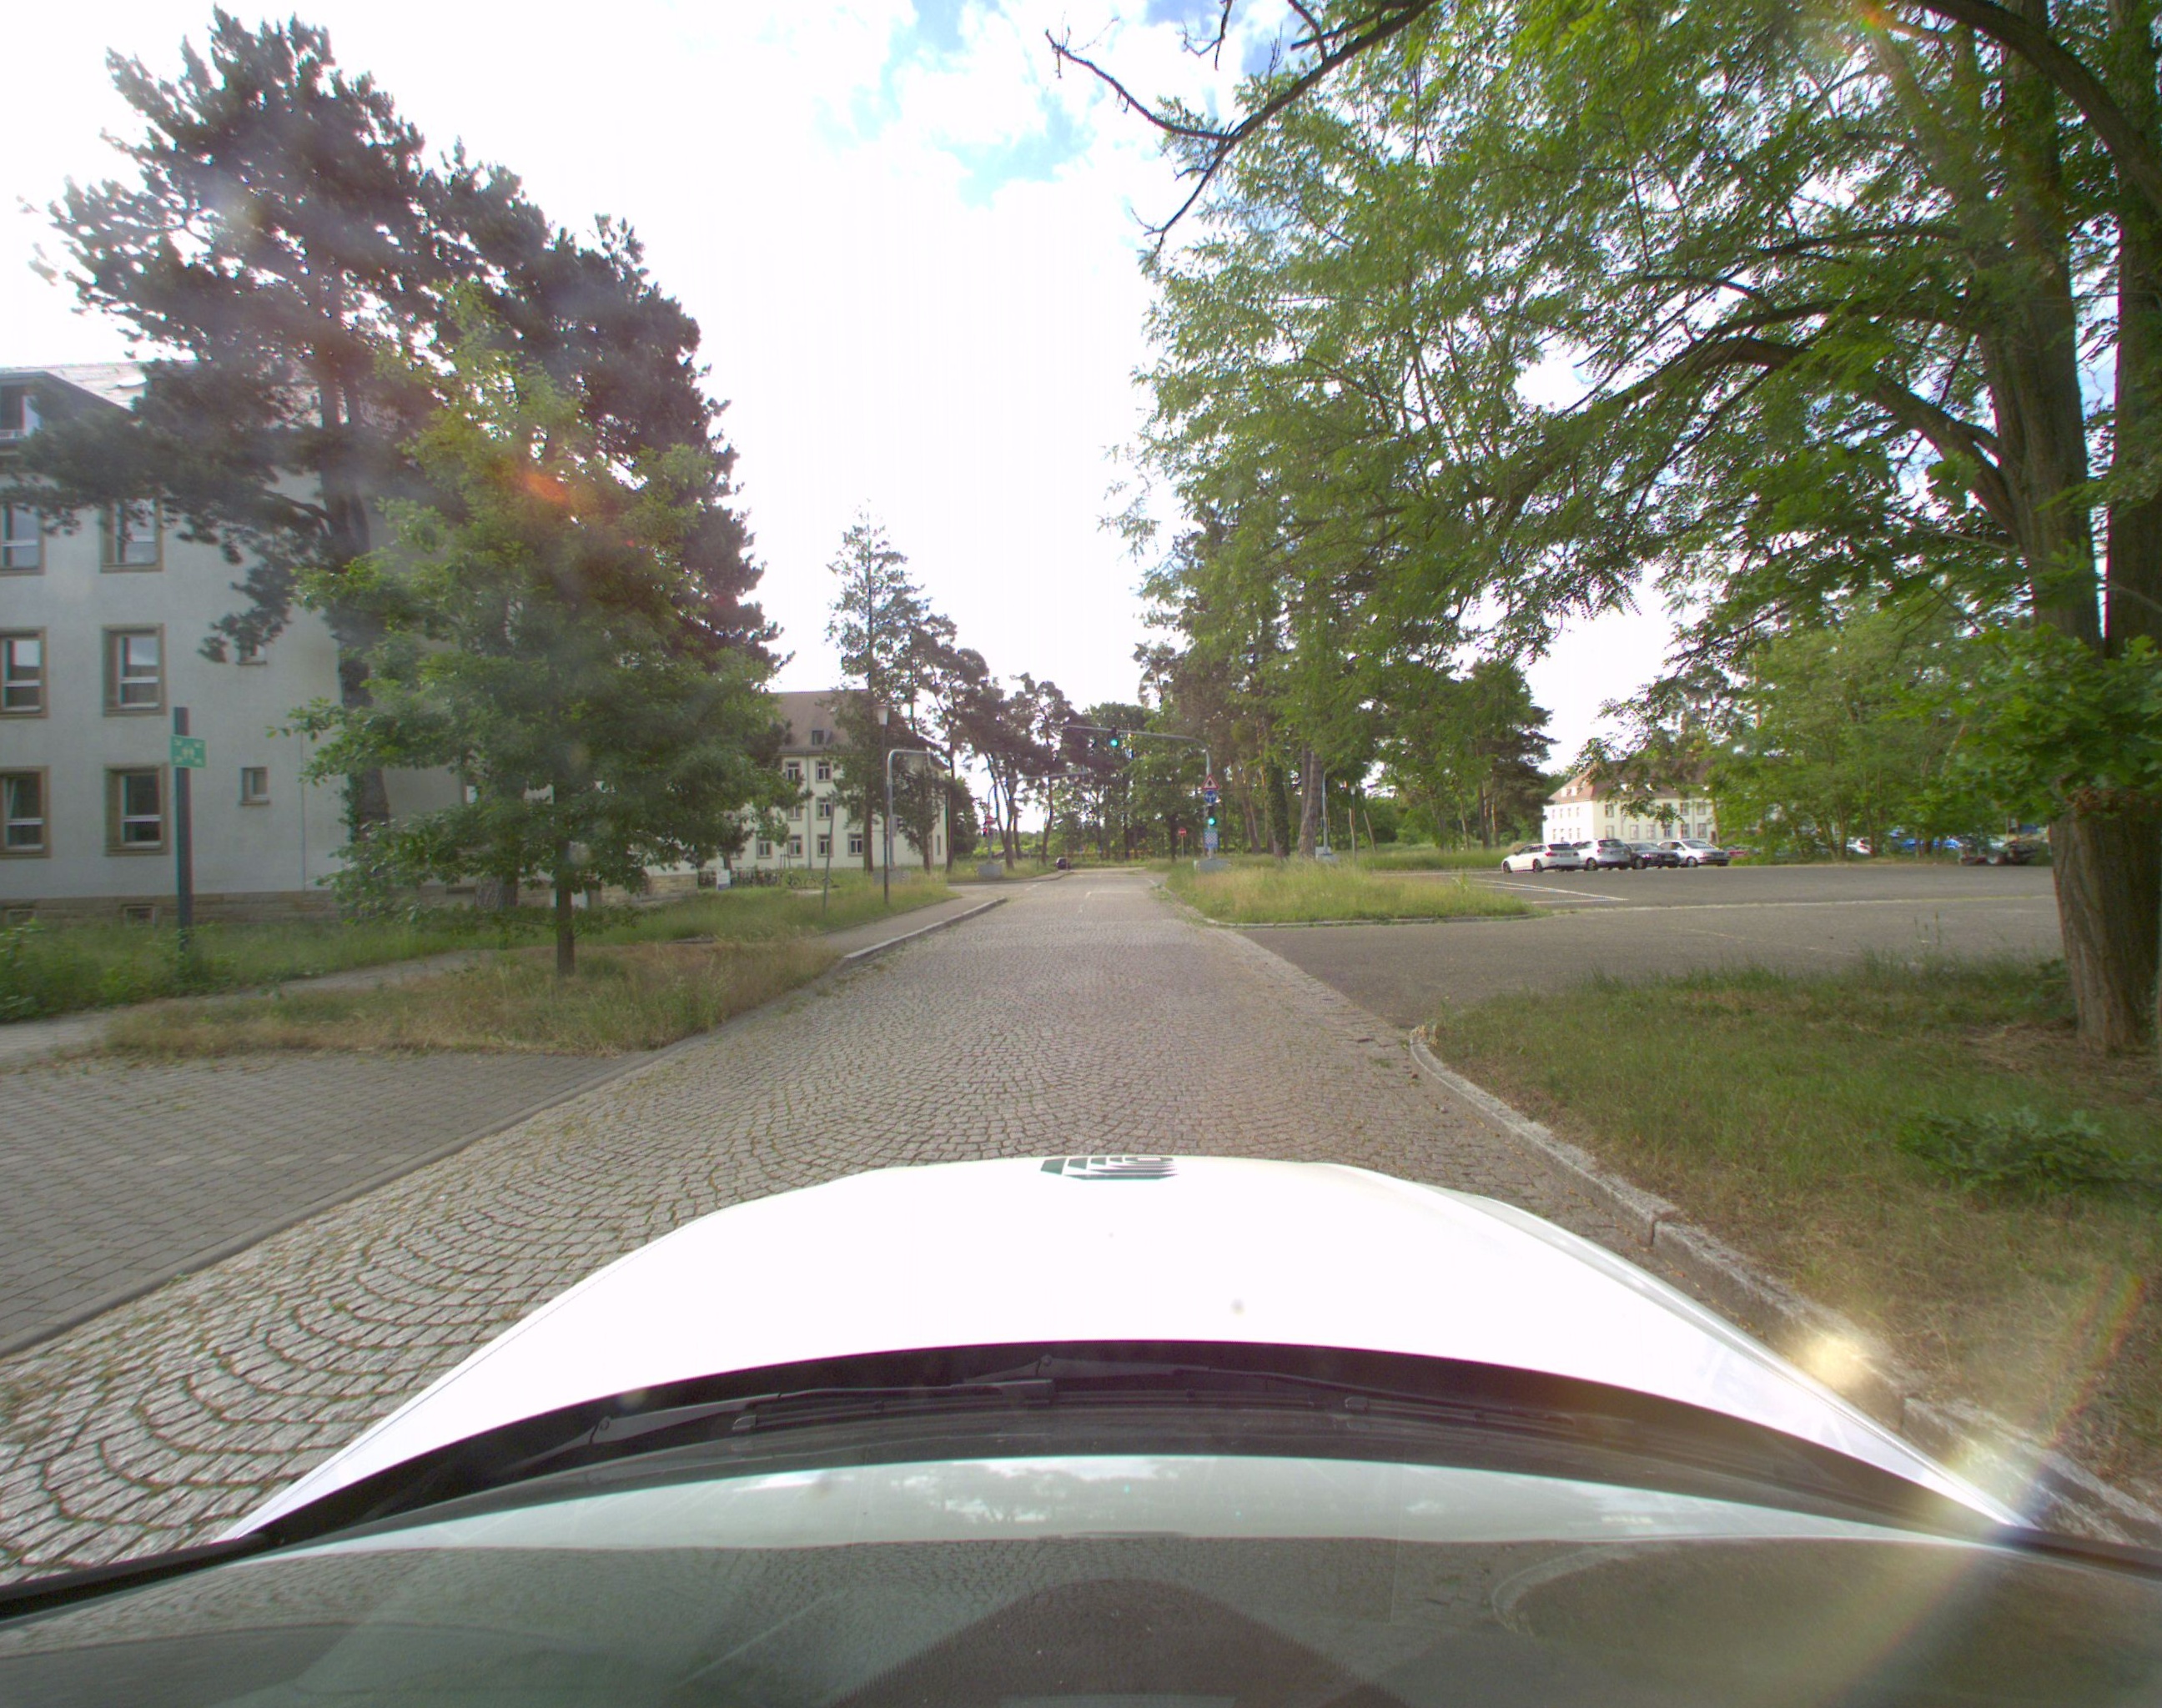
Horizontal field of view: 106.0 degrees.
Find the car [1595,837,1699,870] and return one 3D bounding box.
[{"bbox_3d":[27.987,0.018,40.466,1.988,1.481,4.421,-2,-2,-2],"label":"car"}]

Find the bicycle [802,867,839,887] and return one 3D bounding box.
[{"bbox_3d":[-15.088,1.346,47.144,1.848,1.076,0.832,-2,0,3],"label":"bicycle"}]

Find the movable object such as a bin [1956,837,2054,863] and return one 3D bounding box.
[{"bbox_3d":[31.215,-0.127,27.559,1.179,0.825,1.957,-2,0,6],"label":"movable object such as a bin"}]

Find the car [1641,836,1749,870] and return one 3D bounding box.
[{"bbox_3d":[30.663,-0.007,40.884,1.988,1.523,4.421,0,-2,-2],"label":"car"}]

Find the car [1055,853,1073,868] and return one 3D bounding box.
[{"bbox_3d":[-2.171,0.818,104.230,2.048,1.846,4.001,-2,0,1],"label":"car"}]

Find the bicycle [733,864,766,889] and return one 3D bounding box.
[{"bbox_3d":[-19.790,1.336,48.737,0.733,1.385,2.712,-2,0,2],"label":"bicycle"}]

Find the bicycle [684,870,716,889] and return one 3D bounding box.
[{"bbox_3d":[-22.677,1.508,48.565,0.733,1.076,2.274,-2,0,2],"label":"bicycle"}]

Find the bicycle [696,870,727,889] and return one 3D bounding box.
[{"bbox_3d":[-21.971,1.497,48.472,0.733,1.076,2.274,-2,0,2],"label":"bicycle"}]

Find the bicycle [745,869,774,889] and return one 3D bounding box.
[{"bbox_3d":[-19.056,1.463,48.365,0.733,1.076,2.274,-2,0,2],"label":"bicycle"}]

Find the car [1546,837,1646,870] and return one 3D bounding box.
[{"bbox_3d":[25.317,0.025,40.232,1.988,1.481,4.421,-2,-2,-2],"label":"car"}]

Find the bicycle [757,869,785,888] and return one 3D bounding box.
[{"bbox_3d":[-18.413,1.440,48.431,0.733,1.076,2.274,-2,0,2],"label":"bicycle"}]

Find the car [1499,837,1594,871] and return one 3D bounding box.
[{"bbox_3d":[22.802,0.032,40.108,1.988,1.481,4.421,-2,-2,-2],"label":"car"}]

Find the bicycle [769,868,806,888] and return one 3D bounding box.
[{"bbox_3d":[-16.972,1.387,47.147,1.848,1.076,0.739,-2,0,3],"label":"bicycle"}]

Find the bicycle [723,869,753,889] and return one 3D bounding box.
[{"bbox_3d":[-20.582,1.489,48.863,0.733,1.076,2.274,-2,0,2],"label":"bicycle"}]

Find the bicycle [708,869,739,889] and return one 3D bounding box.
[{"bbox_3d":[-21.243,1.480,48.384,0.733,1.076,2.274,-2,0,2],"label":"bicycle"}]
